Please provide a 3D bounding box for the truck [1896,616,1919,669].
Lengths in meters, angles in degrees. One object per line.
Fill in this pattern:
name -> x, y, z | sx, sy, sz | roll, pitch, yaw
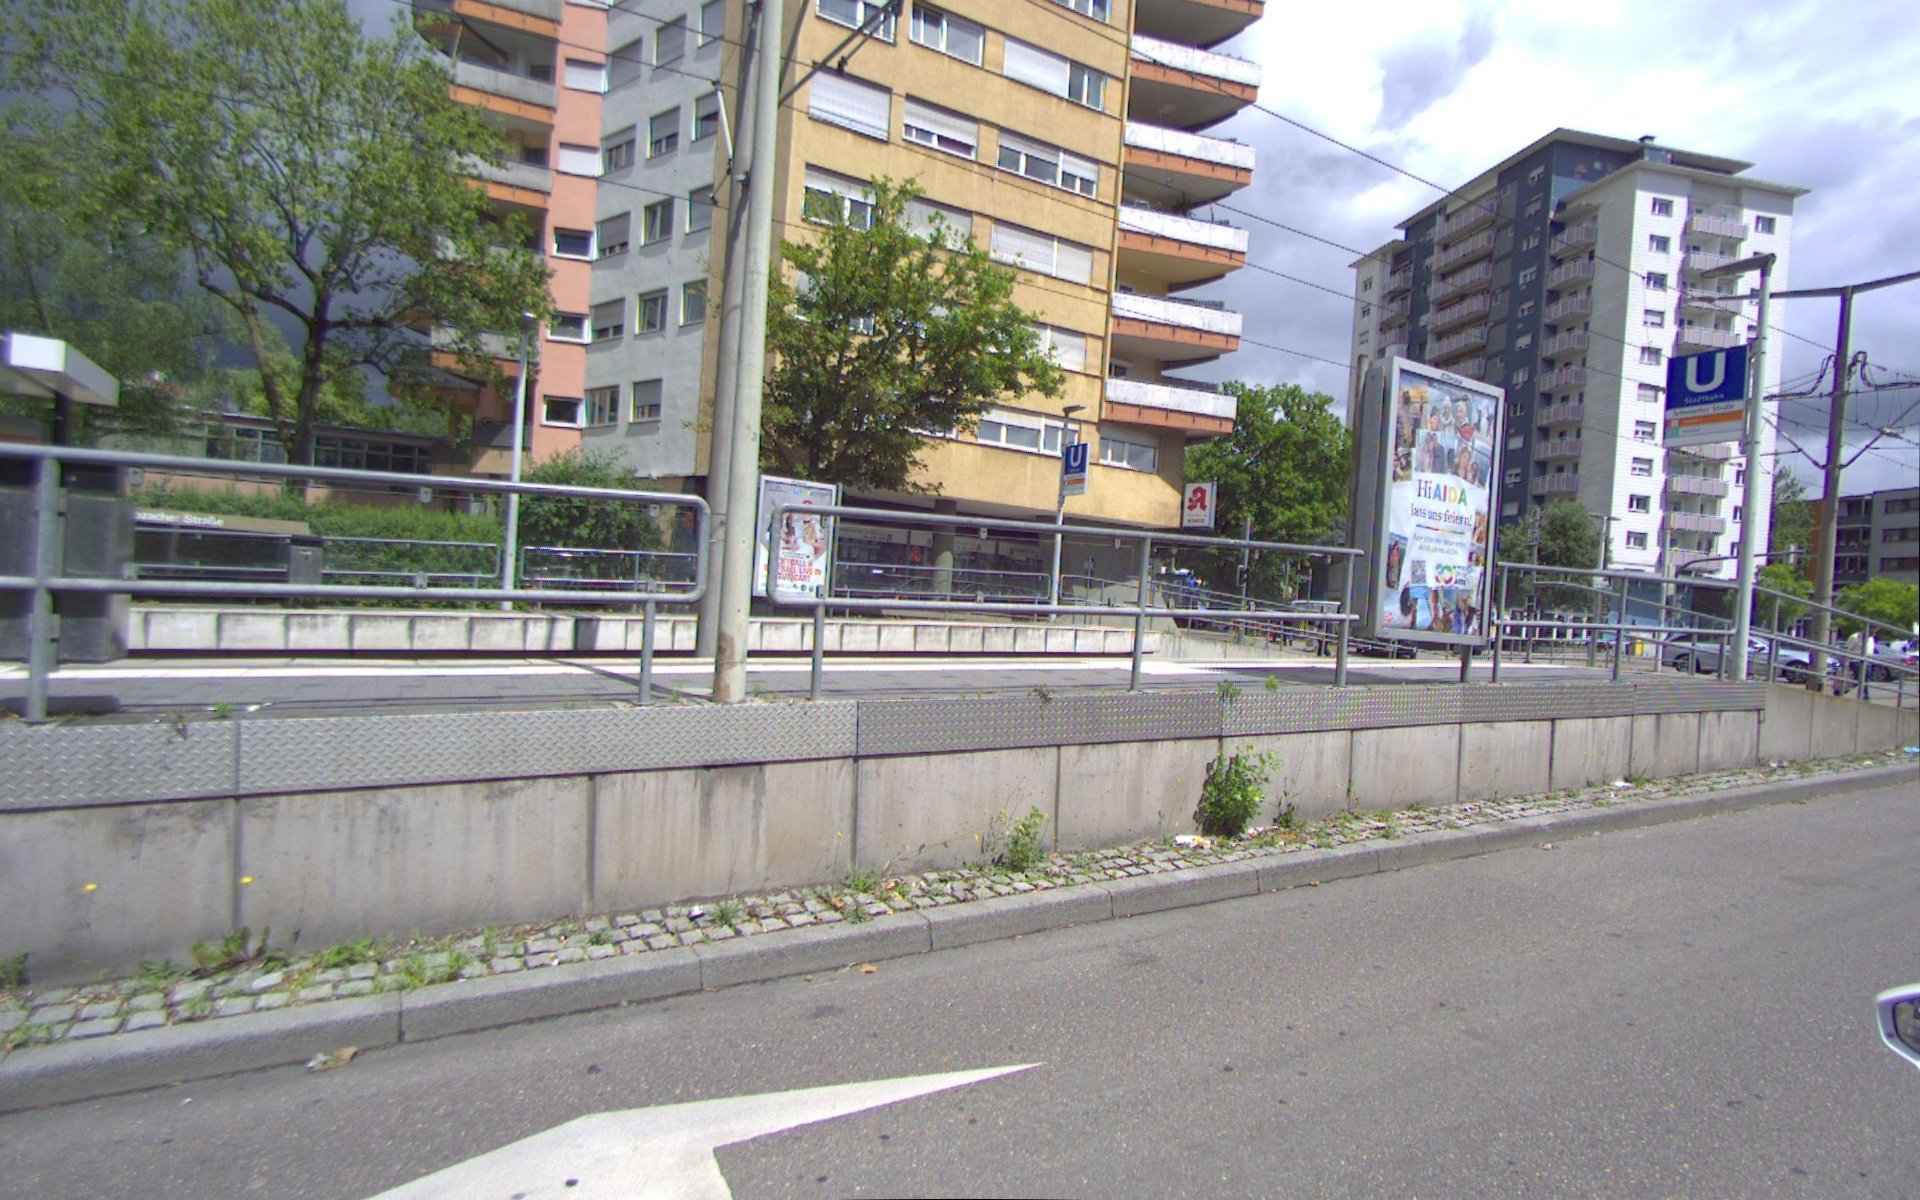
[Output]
truck -> 60.111, 2.669, 61.642 | 7.244, 3.159, 2.267 | 2, 0, -34

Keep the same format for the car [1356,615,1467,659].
car -> 15.599, 1.272, 34.695 | 3.820, 1.424, 1.571 | 2, 0, -30

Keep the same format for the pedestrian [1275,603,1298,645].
pedestrian -> 11.478, 0.847, 35.314 | 0.541, 1.459, 0.497 | 2, 0, -19

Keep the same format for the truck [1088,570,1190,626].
truck -> 7.983, -0.109, 45.239 | 2.323, 2.320, 4.260 | 2, 0, -29

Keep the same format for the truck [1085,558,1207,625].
truck -> 10.064, -0.462, 55.177 | 2.576, 3.393, 7.236 | 2, 0, -29

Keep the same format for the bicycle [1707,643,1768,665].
bicycle -> 42.556, 2.952, 54.984 | 2.521, 1.022, 0.754 | 4, 0, 33

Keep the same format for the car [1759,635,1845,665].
car -> 53.777, 3.175, 64.233 | 3.846, 1.669, 1.657 | 2, 0, 18

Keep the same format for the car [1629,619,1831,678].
car -> 24.482, 1.495, 32.095 | 1.982, 1.542, 4.755 | 2, 0, -37

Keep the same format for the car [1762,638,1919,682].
car -> 33.276, 2.224, 37.910 | 1.663, 1.346, 4.412 | 2, 0, -36

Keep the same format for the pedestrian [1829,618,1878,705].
pedestrian -> 18.530, 1.261, 20.843 | 0.679, 1.757, 0.684 | 2, 0, 40

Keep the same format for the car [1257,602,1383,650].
car -> 16.002, 1.118, 44.891 | 1.978, 1.918, 5.140 | 2, 0, -32

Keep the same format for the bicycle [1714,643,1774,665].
bicycle -> 43.416, 2.982, 55.677 | 2.521, 1.022, 0.754 | 4, 0, 33
